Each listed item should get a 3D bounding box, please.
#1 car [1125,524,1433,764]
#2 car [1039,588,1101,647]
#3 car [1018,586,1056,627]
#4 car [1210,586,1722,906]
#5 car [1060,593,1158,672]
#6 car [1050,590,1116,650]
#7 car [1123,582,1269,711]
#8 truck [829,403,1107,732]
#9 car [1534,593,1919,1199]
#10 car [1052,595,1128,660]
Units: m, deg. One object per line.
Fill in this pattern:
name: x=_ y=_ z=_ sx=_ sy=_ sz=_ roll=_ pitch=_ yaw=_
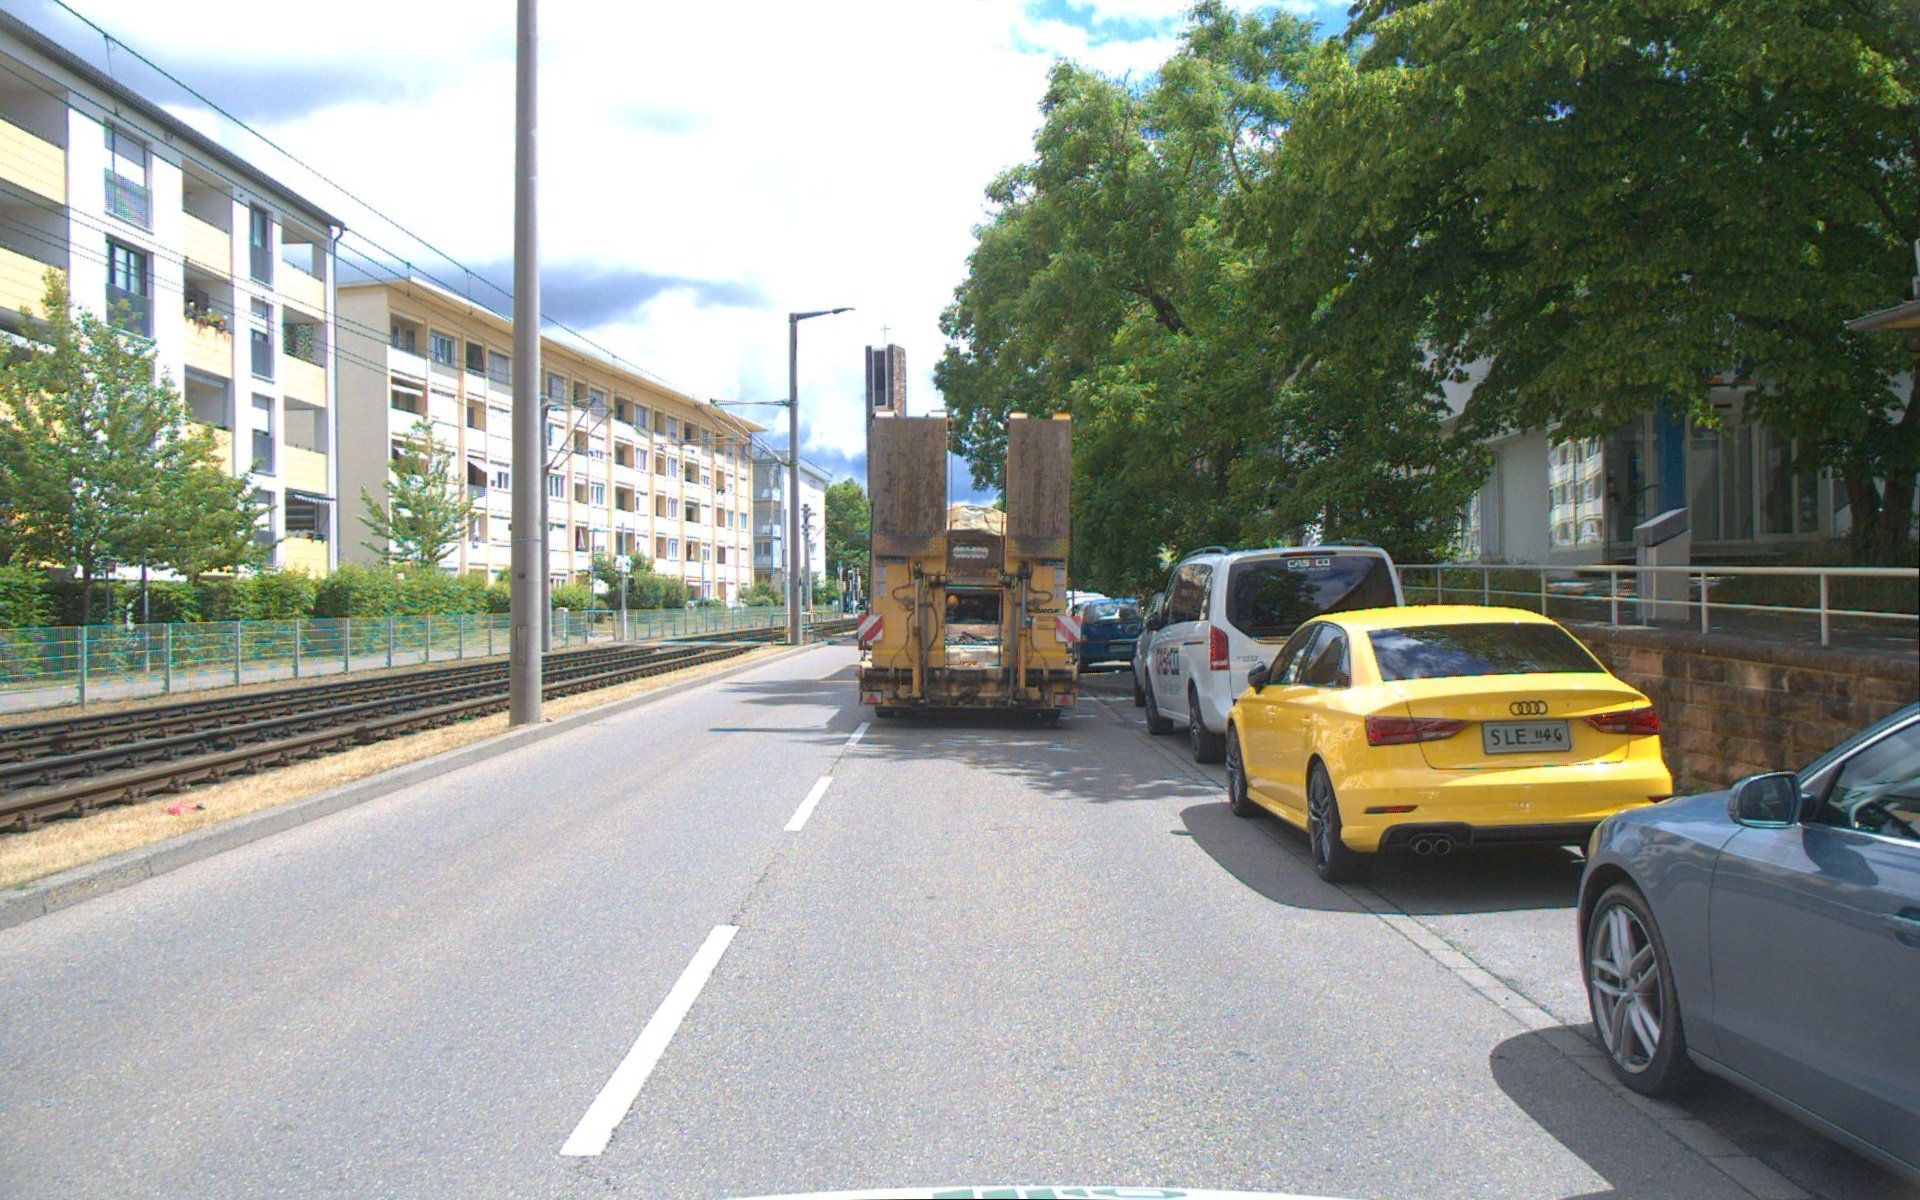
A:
car: x=2.991 y=0.359 z=16.876 sx=1.875 sy=1.993 sz=5.743 roll=-1 pitch=0 yaw=-1
car: x=3.356 y=0.509 z=50.883 sx=1.785 sy=1.711 sz=4.577 roll=-1 pitch=0 yaw=3
car: x=3.880 y=0.305 z=84.054 sx=1.762 sy=2.003 sz=4.590 roll=-1 pitch=0 yaw=1
car: x=2.750 y=0.689 z=10.078 sx=1.719 sy=1.467 sz=4.340 roll=-2 pitch=0 yaw=-1
car: x=3.040 y=0.631 z=34.314 sx=1.575 sy=1.482 sz=3.675 roll=-2 pitch=0 yaw=-2
car: x=3.400 y=0.527 z=46.160 sx=1.549 sy=1.579 sz=3.474 roll=0 pitch=0 yaw=-1
car: x=3.097 y=0.578 z=22.155 sx=1.482 sy=1.560 sz=2.846 roll=-2 pitch=0 yaw=-1
truck: x=-0.075 y=-0.404 z=24.544 sx=3.061 sy=3.627 sz=12.455 roll=0 pitch=0 yaw=-2
car: x=2.957 y=0.730 z=3.544 sx=1.720 sy=1.467 sz=4.492 roll=-1 pitch=0 yaw=-2
car: x=3.172 y=0.644 z=41.019 sx=1.611 sy=1.516 sz=3.822 roll=0 pitch=0 yaw=1
